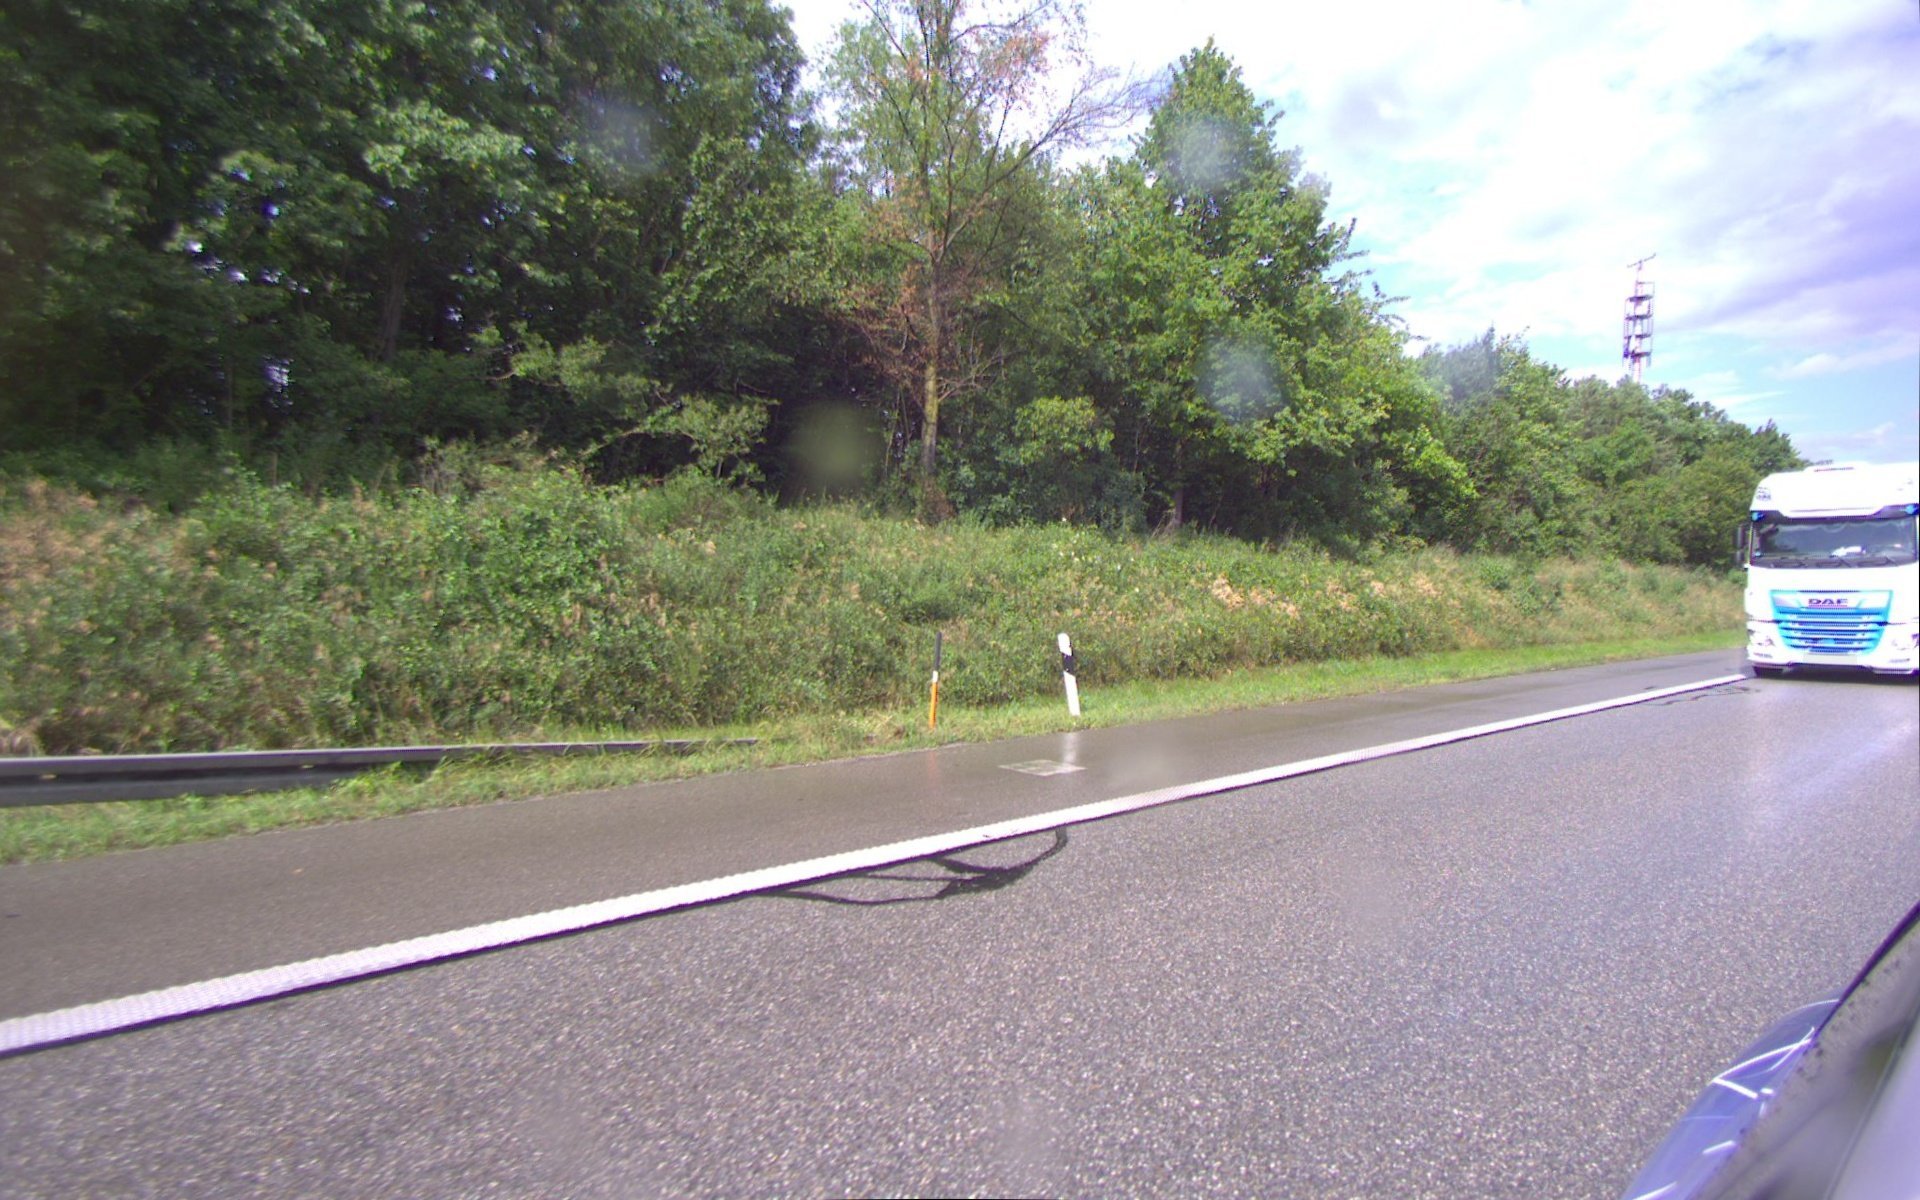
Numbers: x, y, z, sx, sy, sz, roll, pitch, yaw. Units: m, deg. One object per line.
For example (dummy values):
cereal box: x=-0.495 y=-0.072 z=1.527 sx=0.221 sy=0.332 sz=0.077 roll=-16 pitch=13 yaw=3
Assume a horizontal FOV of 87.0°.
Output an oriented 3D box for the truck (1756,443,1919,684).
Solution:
truck: x=18.156 y=-0.645 z=20.045 sx=7.166 sy=4.046 sz=2.610 roll=-1 pitch=0 yaw=-42

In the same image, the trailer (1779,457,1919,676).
trailer: x=22.365 y=-0.687 z=23.903 sx=13.824 sy=4.046 sz=2.638 roll=-1 pitch=0 yaw=-42
